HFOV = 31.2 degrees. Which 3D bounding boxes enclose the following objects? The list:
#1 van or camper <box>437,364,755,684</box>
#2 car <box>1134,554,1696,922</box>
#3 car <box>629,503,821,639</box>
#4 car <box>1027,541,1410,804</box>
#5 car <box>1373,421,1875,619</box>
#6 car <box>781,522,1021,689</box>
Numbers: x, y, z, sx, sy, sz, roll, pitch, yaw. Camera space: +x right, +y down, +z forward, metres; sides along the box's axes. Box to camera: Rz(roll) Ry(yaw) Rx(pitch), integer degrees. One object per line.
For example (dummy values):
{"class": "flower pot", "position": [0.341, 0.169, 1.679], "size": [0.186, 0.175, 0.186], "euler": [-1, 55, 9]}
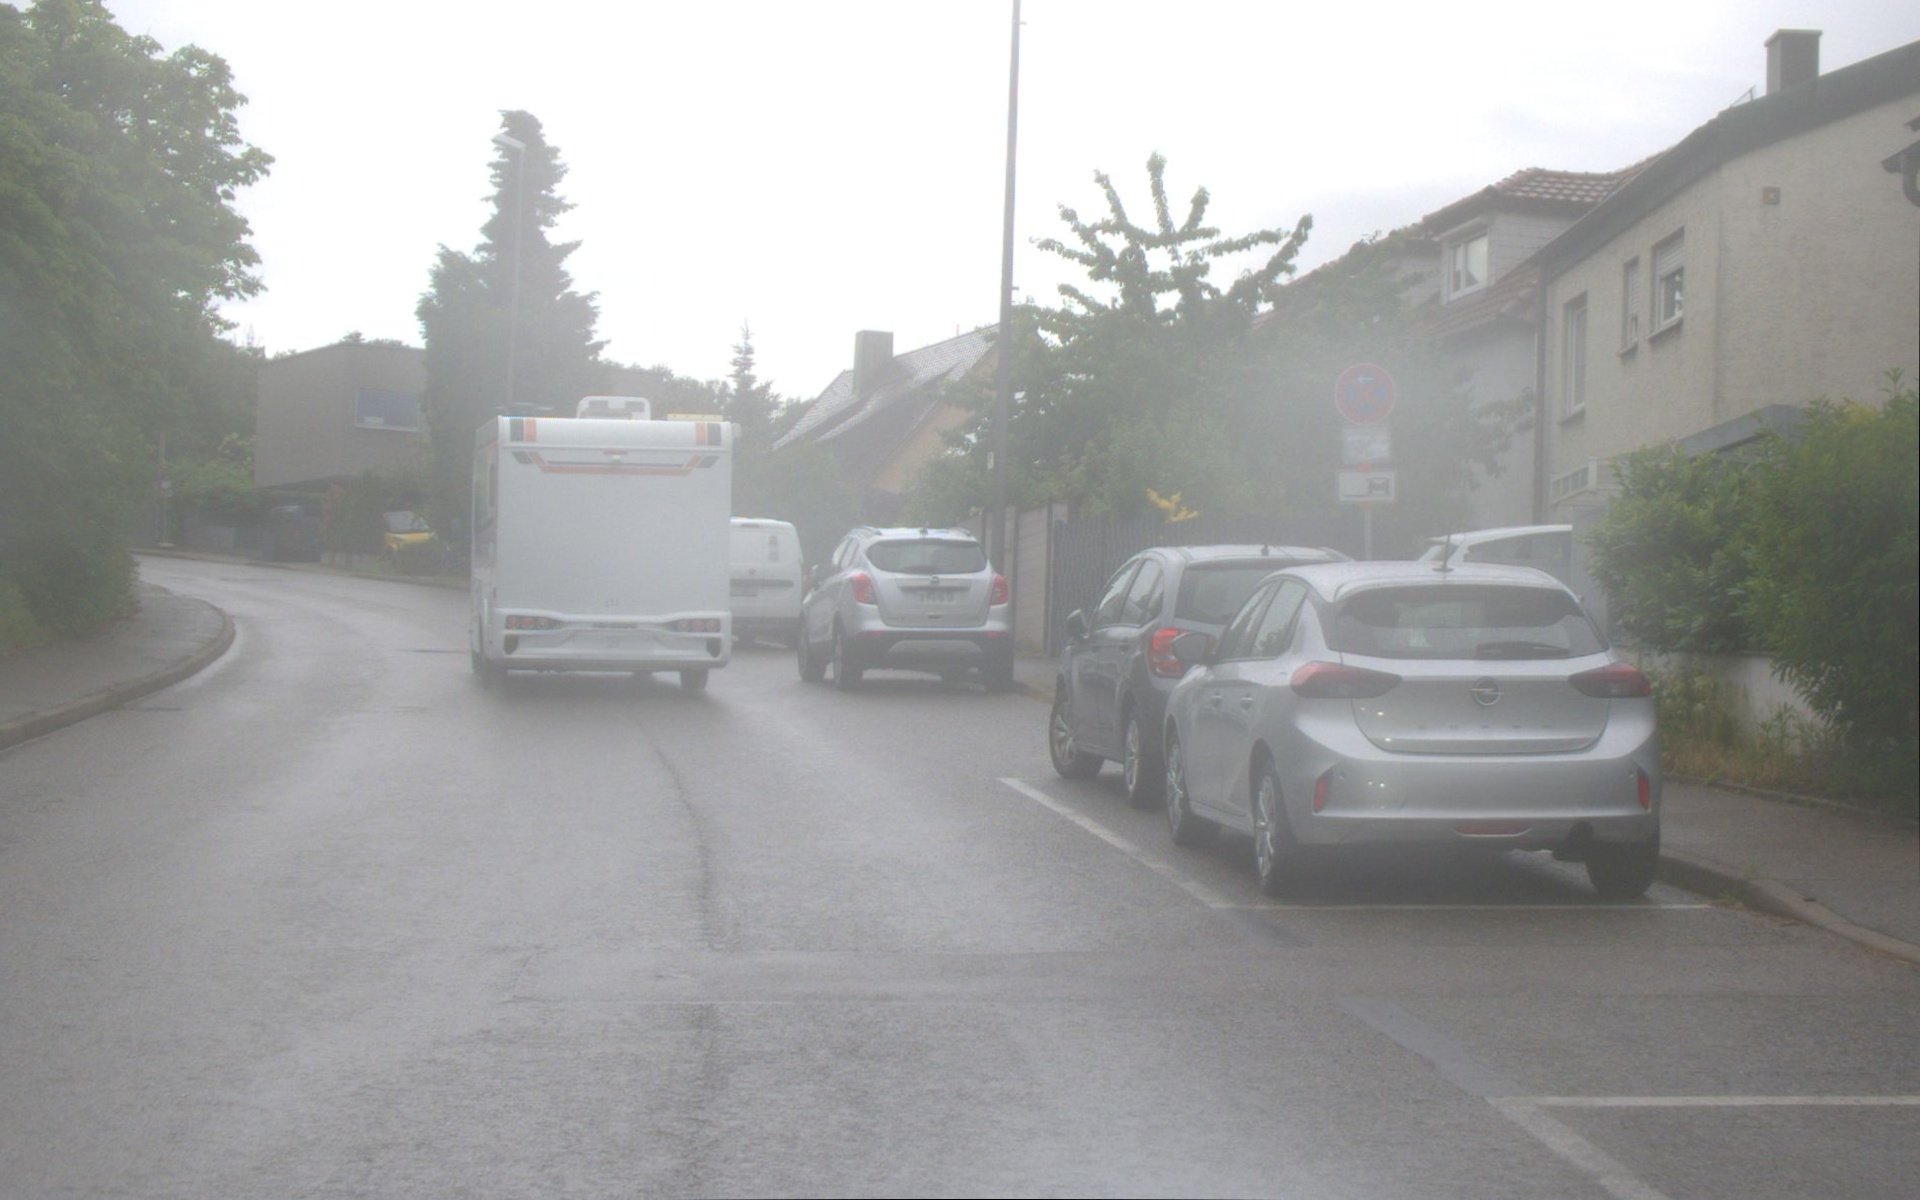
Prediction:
{"class": "van or camper", "position": [-3.814, -0.748, 34.864], "size": [2.539, 2.915, 5.950], "euler": [1, 1, -12]}
{"class": "car", "position": [1.994, 0.539, 16.321], "size": [1.768, 1.462, 4.235], "euler": [0, 1, -5]}
{"class": "car", "position": [-3.393, -0.435, 48.765], "size": [1.778, 1.797, 4.709], "euler": [1, 1, -15]}
{"class": "car", "position": [1.520, 0.378, 21.488], "size": [1.659, 1.462, 3.764], "euler": [-1, 1, -7]}
{"class": "car", "position": [5.874, -0.688, 30.724], "size": [3.986, 1.584, 1.935], "euler": [2, 0, -4]}
{"class": "car", "position": [-0.684, 0.006, 35.882], "size": [1.804, 1.621, 4.289], "euler": [-1, 1, -11]}
